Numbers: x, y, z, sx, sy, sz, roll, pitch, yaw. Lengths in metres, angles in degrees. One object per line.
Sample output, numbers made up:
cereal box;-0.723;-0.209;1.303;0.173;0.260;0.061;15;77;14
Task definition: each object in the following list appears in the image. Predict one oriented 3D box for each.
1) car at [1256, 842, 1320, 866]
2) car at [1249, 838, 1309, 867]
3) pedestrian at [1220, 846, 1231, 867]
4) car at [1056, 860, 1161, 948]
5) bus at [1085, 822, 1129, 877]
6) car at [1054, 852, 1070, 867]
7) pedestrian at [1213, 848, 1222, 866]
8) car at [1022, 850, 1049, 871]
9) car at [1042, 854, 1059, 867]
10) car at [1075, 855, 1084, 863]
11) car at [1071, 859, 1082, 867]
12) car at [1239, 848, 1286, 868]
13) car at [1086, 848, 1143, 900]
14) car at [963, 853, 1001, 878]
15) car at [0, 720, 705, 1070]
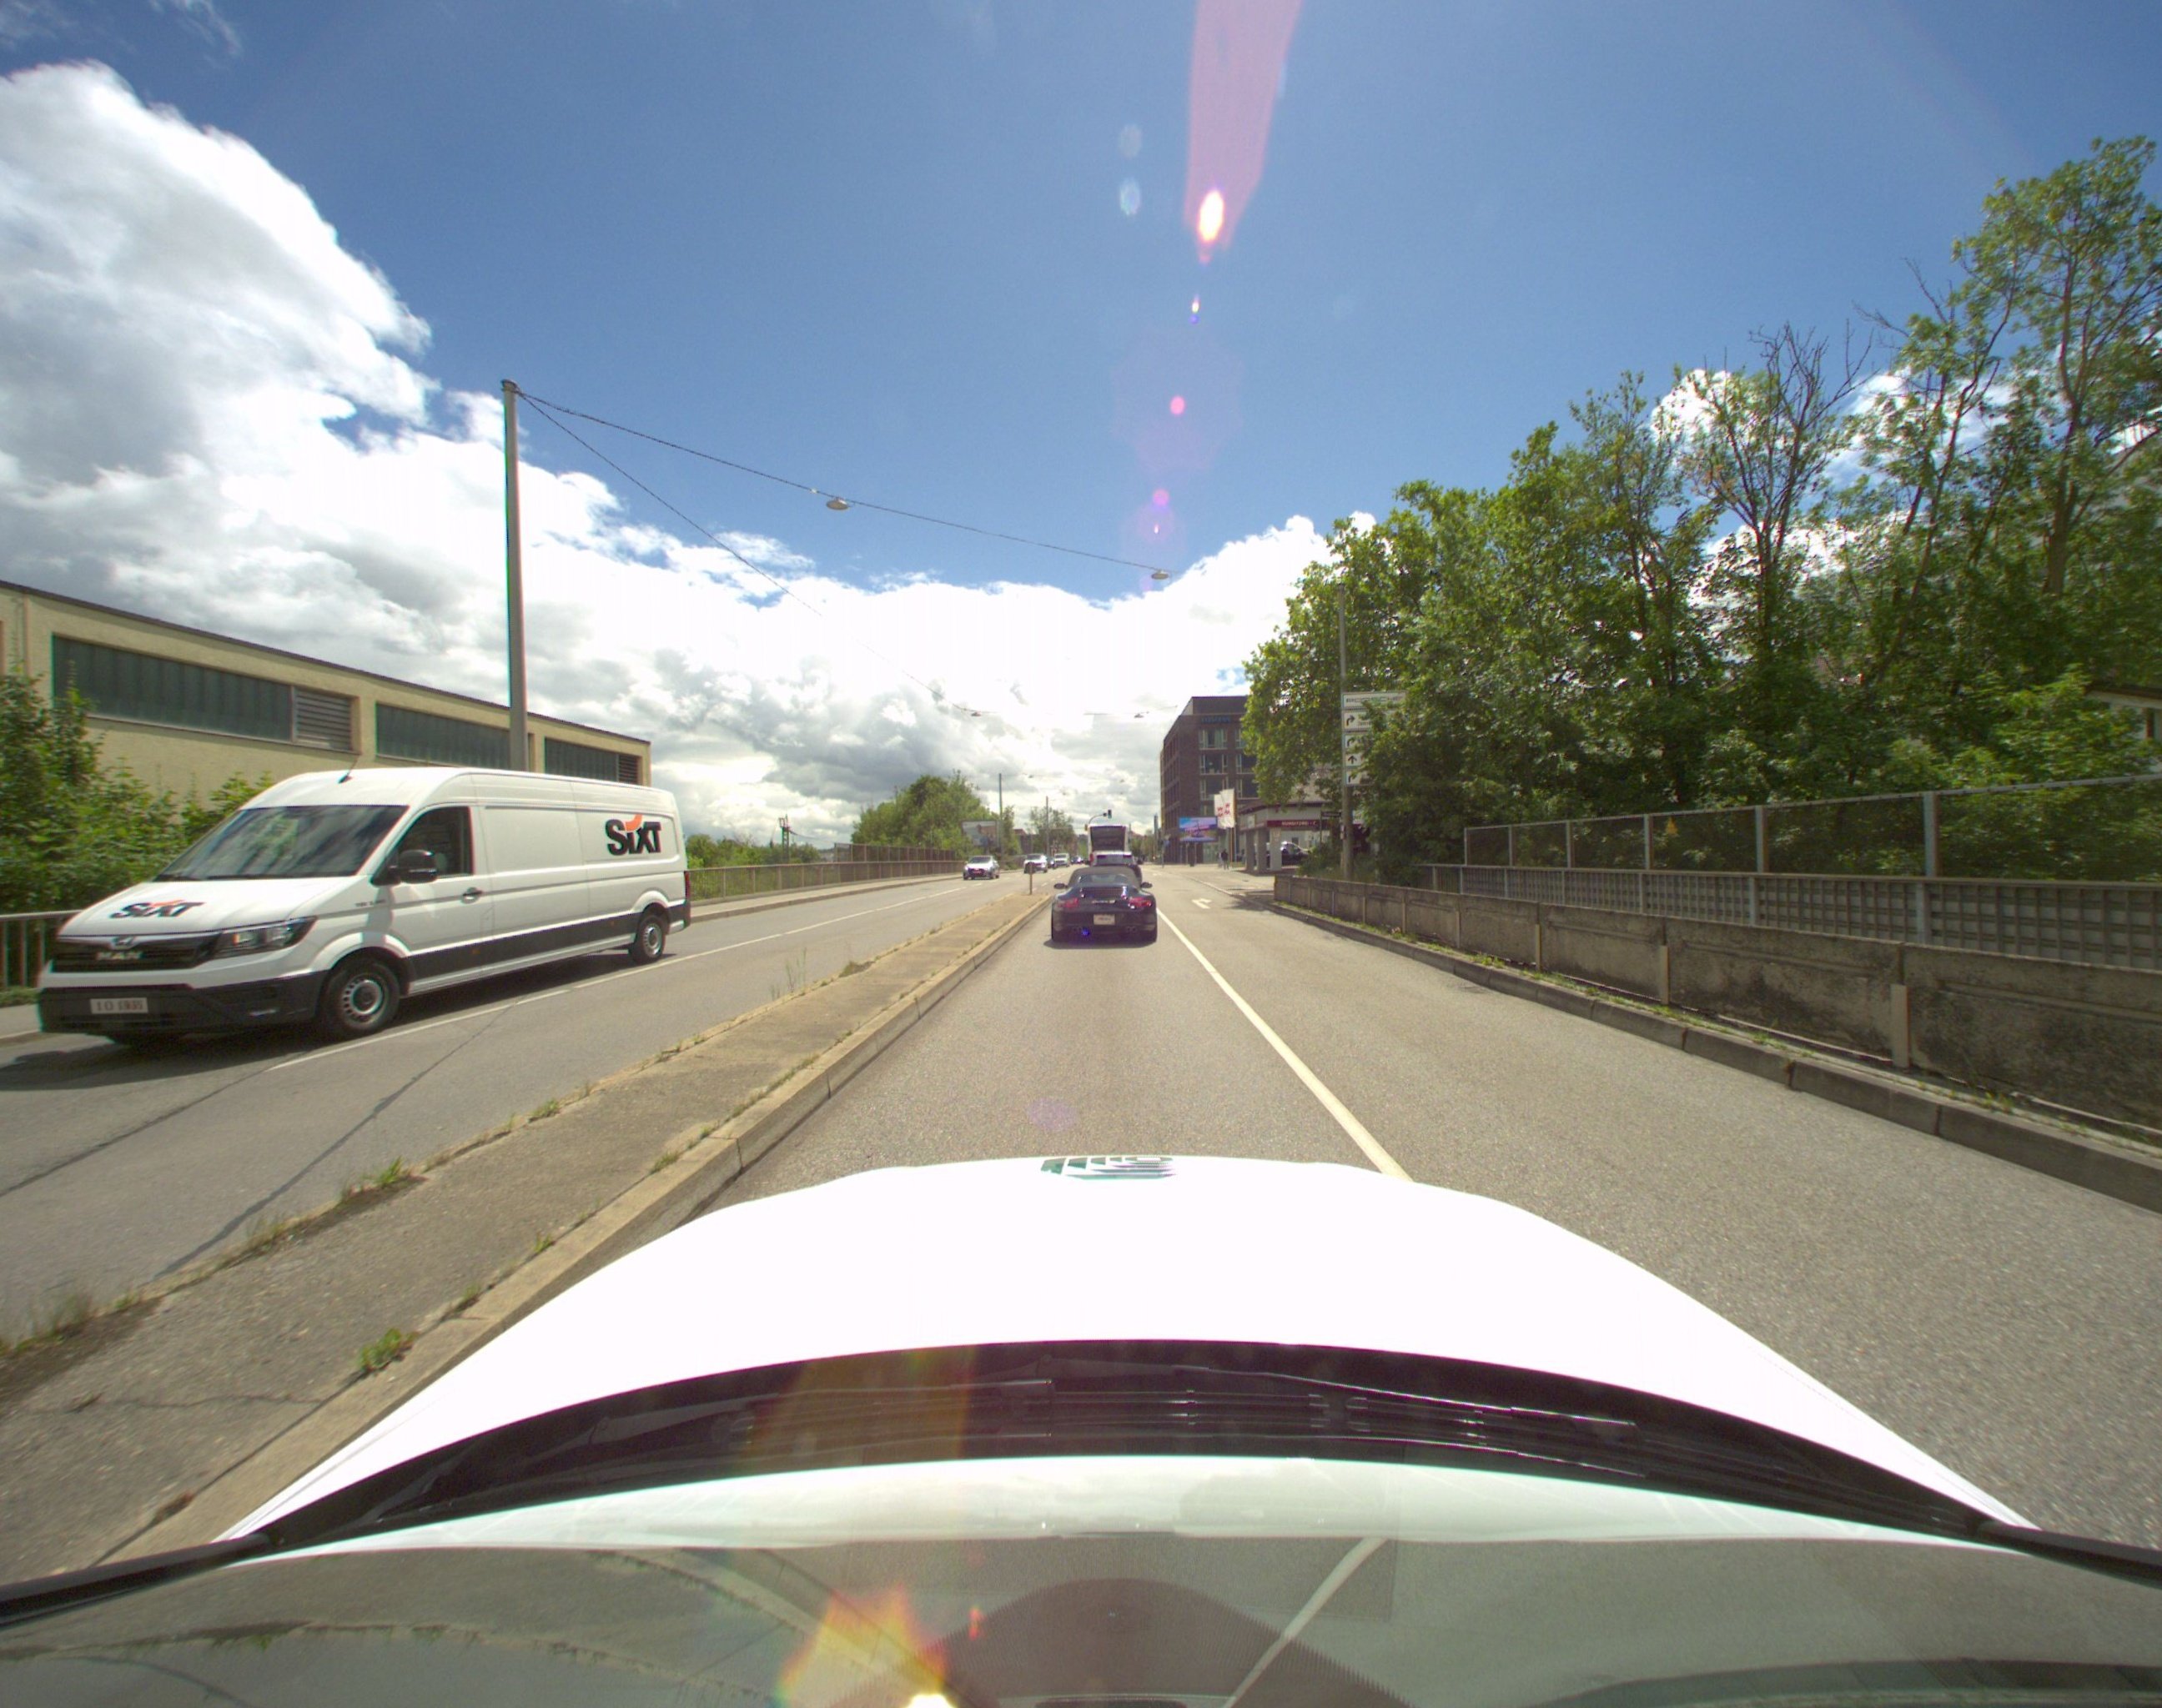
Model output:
car;15.417;0.039;60.717;4.283;1.513;1.847;-4;-1;2
car;15.454;-0.094;63.691;4.213;1.936;2.031;-3;-1;2
pedestrian;11.669;0.206;65.650;0.673;1.696;0.602;-1;0;27
car;0.505;0.830;15.420;1.713;1.275;4.090;0;2;1
bus;1.928;-0.521;56.351;2.678;3.254;12.070;1;3;3
car;-2.631;0.726;113.025;1.894;1.887;5.315;-3;0;2
pedestrian;13.128;0.293;78.143;0.705;1.696;0.924;-1;0;-1
car;-3.603;0.509;64.581;1.803;1.560;4.208;0;0;1
car;-3.527;0.728;93.813;1.622;1.430;4.002;-1;0;2
car;-0.334;0.949;161.065;1.656;1.547;3.805;-1;0;2
car;-0.720;1.530;142.616;1.656;1.416;3.805;-1;0;2
car;15.940;0.372;71.598;3.744;1.440;1.720;-5;-1;2
car;1.133;0.645;28.857;1.873;1.594;4.231;0;2;1
car;-5.920;0.682;49.007;1.631;1.363;4.196;-1;0;2
car;-7.178;0.290;9.583;2.059;2.571;6.825;-2;0;2
